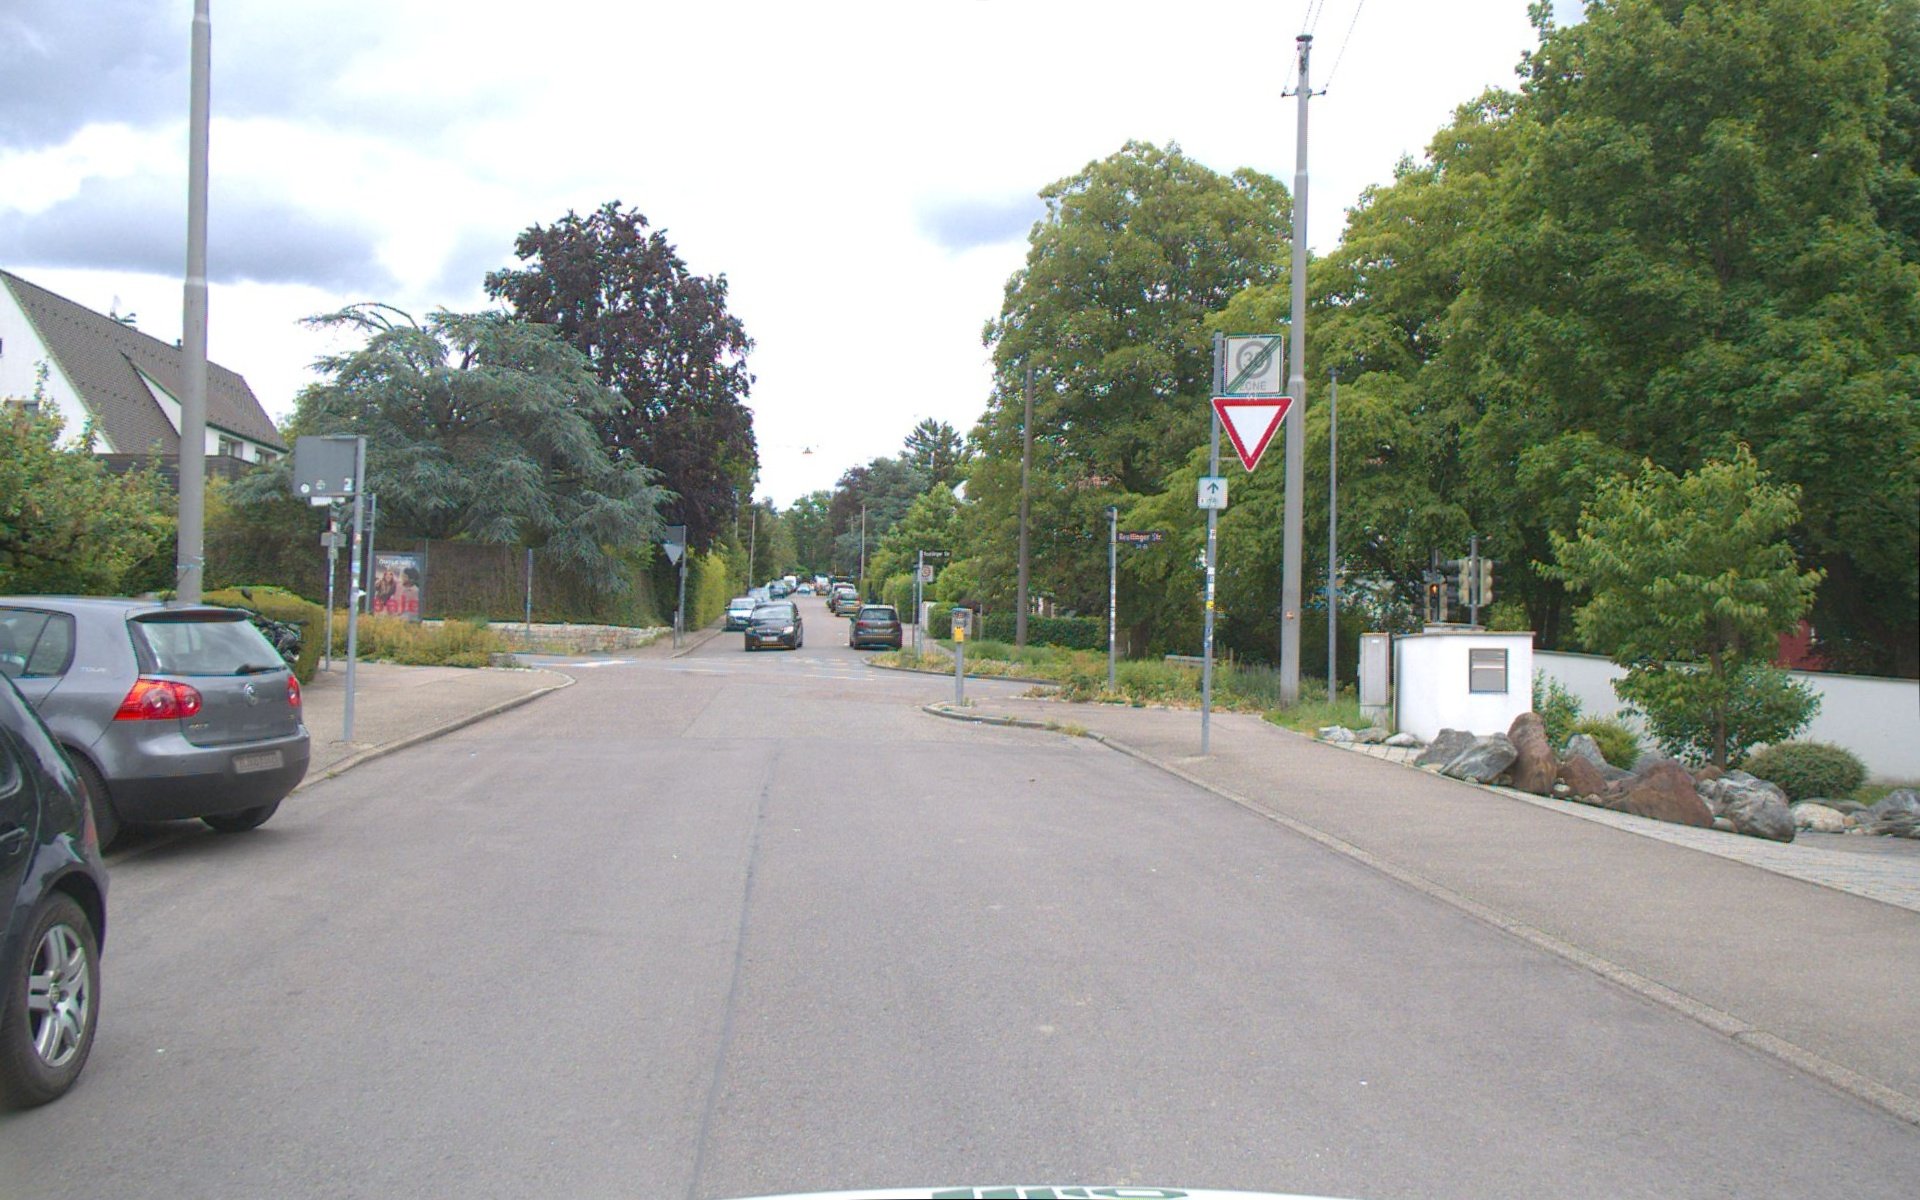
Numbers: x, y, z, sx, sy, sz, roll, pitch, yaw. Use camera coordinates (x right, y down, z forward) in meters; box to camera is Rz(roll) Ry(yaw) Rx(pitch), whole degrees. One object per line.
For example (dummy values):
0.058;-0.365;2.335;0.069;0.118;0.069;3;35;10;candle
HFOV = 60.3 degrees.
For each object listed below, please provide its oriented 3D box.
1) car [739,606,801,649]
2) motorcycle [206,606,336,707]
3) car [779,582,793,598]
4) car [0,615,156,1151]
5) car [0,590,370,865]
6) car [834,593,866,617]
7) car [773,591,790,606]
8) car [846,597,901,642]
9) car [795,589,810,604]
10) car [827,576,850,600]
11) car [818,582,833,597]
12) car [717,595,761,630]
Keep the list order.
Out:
-6.622;0.930;57.894;1.693;1.432;3.803;1;0;0;car
-8.423;0.662;20.356;0.715;1.136;2.620;2;0;-6;motorcycle
-22.545;-1.291;214.266;1.782;1.914;3.995;3;0;-6;car
-3.277;0.784;3.447;1.605;1.419;3.983;-1;0;-6;car
-6.008;0.686;10.434;3.902;1.469;1.828;1;0;11;car
-6.899;0.306;103.451;1.775;1.359;3.628;2;1;-6;car
-18.098;-0.186;167.475;1.595;1.410;3.594;3;0;-6;car
-3.173;0.679;60.176;1.744;1.515;3.995;2;0;-6;car
-22.230;-0.482;233.534;1.955;1.914;3.995;3;0;-6;car
-9.131;-0.892;124.396;1.602;1.731;3.490;1;0;-6;car
-16.118;-1.277;197.866;1.602;1.731;3.490;1;0;-6;car
-10.586;0.599;79.503;1.677;1.613;3.998;1;0;-2;car
